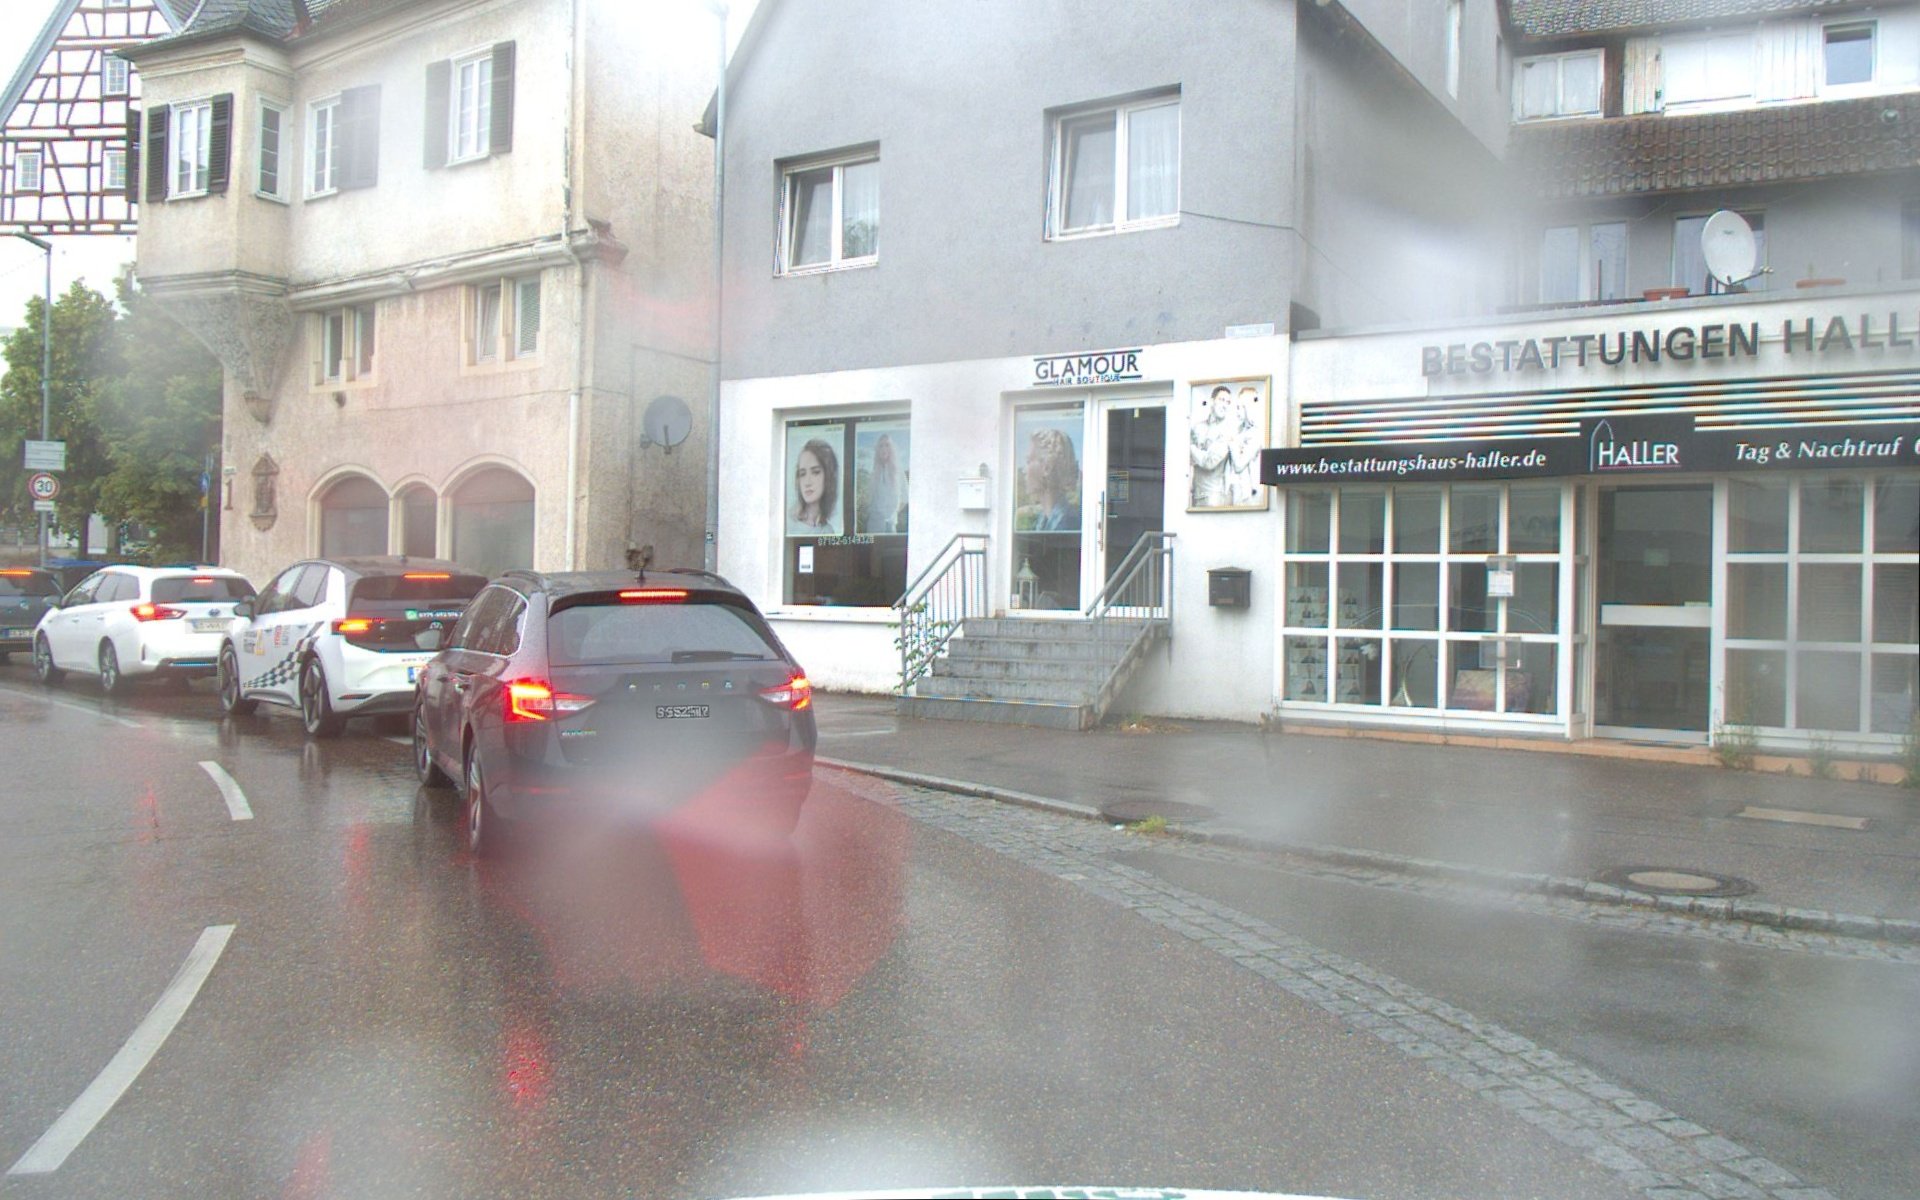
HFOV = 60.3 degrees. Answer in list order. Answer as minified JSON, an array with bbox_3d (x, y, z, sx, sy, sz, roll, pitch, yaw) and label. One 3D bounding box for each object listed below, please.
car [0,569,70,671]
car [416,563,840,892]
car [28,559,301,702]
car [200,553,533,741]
[{"bbox_3d":[-14.914,0.250,24.923,3.701,1.385,1.514,2,3,42],"label":"car"},{"bbox_3d":[-2.200,0.541,9.936,1.709,1.475,4.212,0,2,-23],"label":"car"},{"bbox_3d":[-9.734,0.279,20.105,1.778,1.490,4.096,-1,3,-45],"label":"car"},{"bbox_3d":[-5.784,0.346,15.817,1.777,1.543,4.183,-1,1,-38],"label":"car"}]
